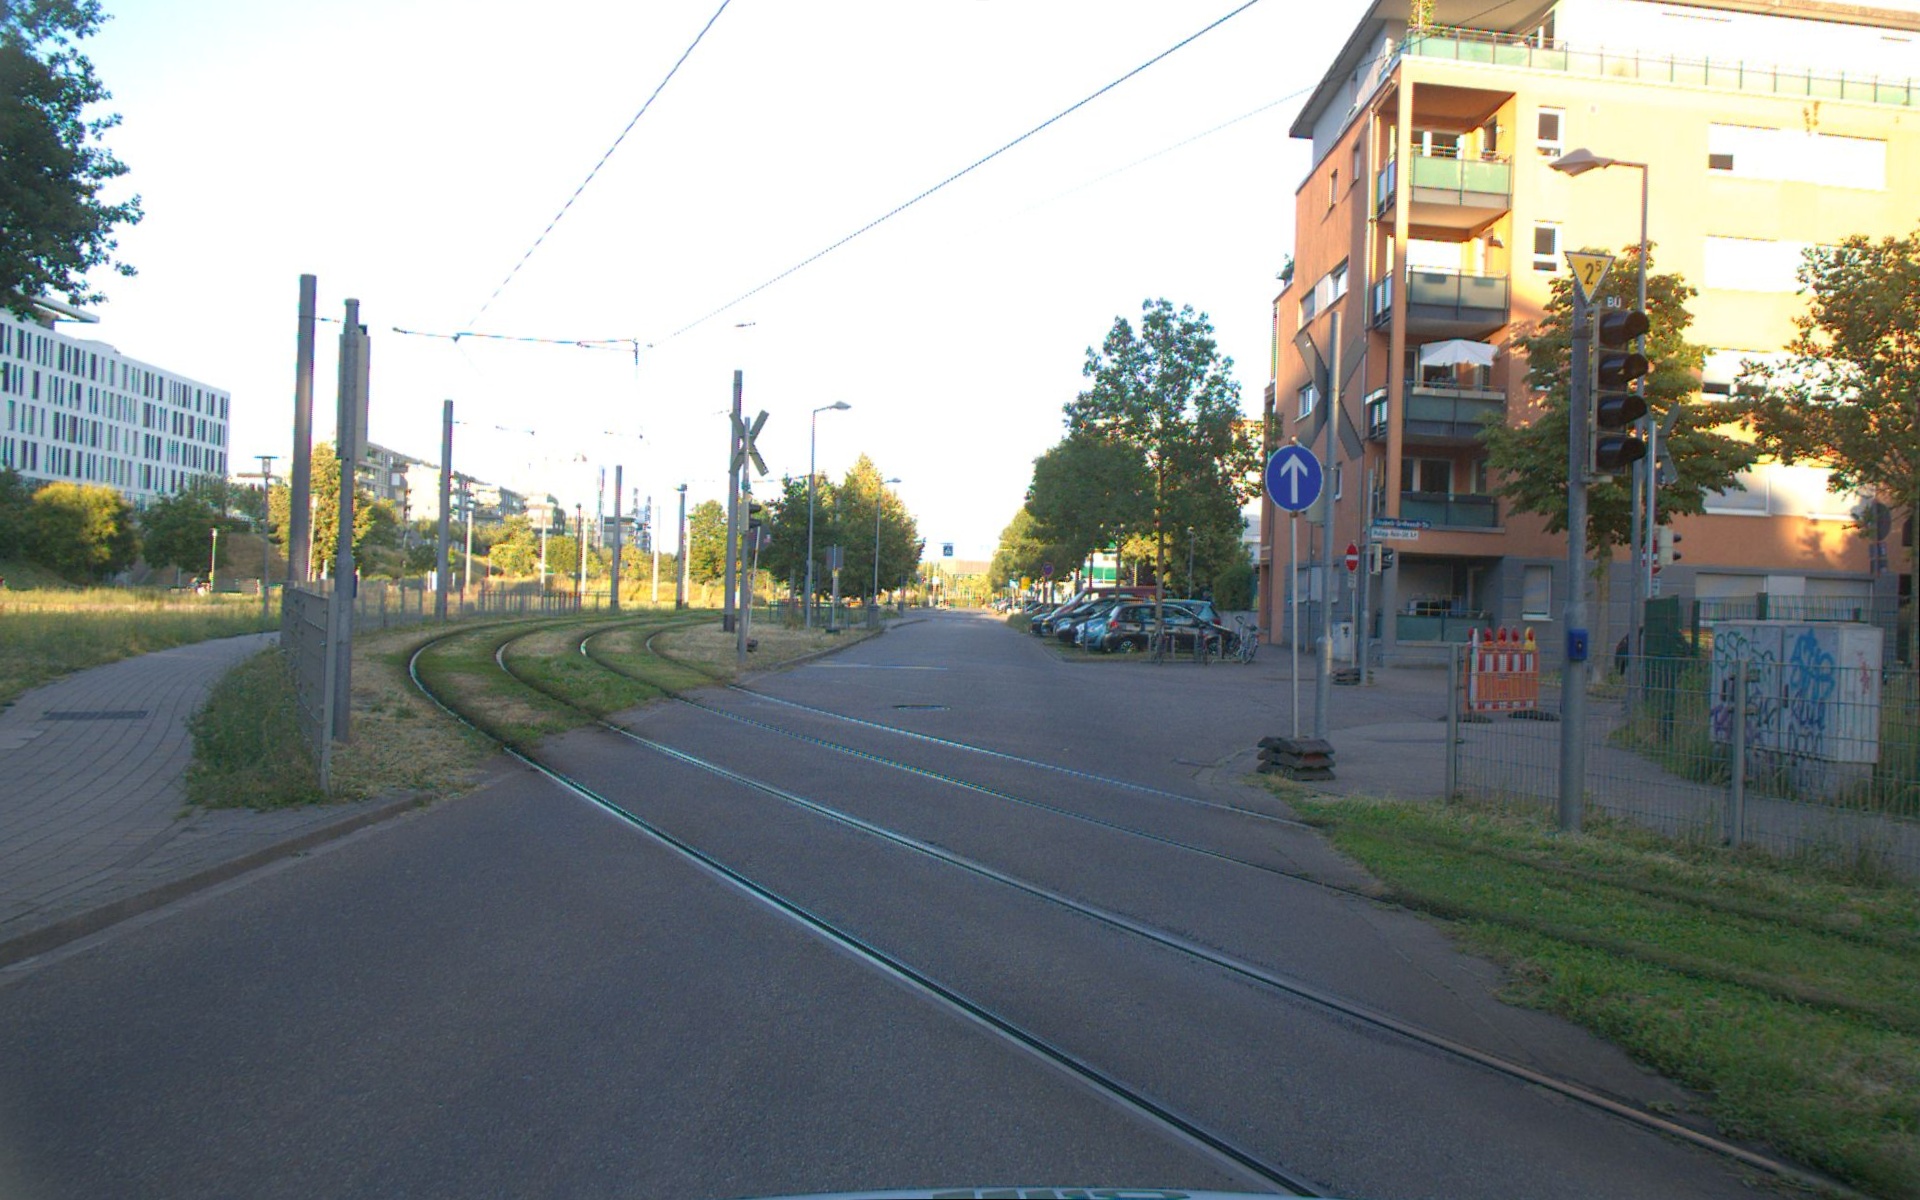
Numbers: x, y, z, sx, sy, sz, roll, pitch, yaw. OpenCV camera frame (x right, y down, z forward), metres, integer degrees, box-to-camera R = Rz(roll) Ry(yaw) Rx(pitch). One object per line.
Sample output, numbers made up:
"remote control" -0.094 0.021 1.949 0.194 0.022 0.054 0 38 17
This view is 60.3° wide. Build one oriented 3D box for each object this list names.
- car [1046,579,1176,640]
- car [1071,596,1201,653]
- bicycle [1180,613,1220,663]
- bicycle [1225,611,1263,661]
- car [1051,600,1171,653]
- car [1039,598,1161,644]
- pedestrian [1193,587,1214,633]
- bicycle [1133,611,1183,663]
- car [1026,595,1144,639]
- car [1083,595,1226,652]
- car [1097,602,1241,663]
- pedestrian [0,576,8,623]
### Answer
"car" 5.749 0.353 63.389 4.818 2.154 2.017 2 0 1
"car" 5.386 0.744 50.920 3.797 1.596 1.620 2 0 0
"bicycle" 5.953 0.929 41.046 0.665 1.172 1.927 0 1 -2
"bicycle" 7.150 0.891 41.714 0.518 1.146 1.962 3 1 -2
"car" 4.854 0.865 53.533 3.696 1.522 1.539 2 -2 0
"car" 4.885 0.740 58.062 4.129 1.596 1.792 0 0 0
"pedestrian" 9.457 0.389 64.152 0.655 1.773 0.699 2 0 0
"bicycle" 4.921 0.910 41.197 0.703 1.172 1.894 0 2 -10
"car" 4.983 0.681 66.548 4.573 1.584 1.811 2 0 0
"car" 5.627 0.667 48.164 3.967 1.596 1.673 1 0 0
"car" 5.753 0.891 45.756 3.676 1.499 1.612 2 0 -5
"pedestrian" -43.910 -0.041 75.248 0.603 2.118 0.790 4 -1 -1
